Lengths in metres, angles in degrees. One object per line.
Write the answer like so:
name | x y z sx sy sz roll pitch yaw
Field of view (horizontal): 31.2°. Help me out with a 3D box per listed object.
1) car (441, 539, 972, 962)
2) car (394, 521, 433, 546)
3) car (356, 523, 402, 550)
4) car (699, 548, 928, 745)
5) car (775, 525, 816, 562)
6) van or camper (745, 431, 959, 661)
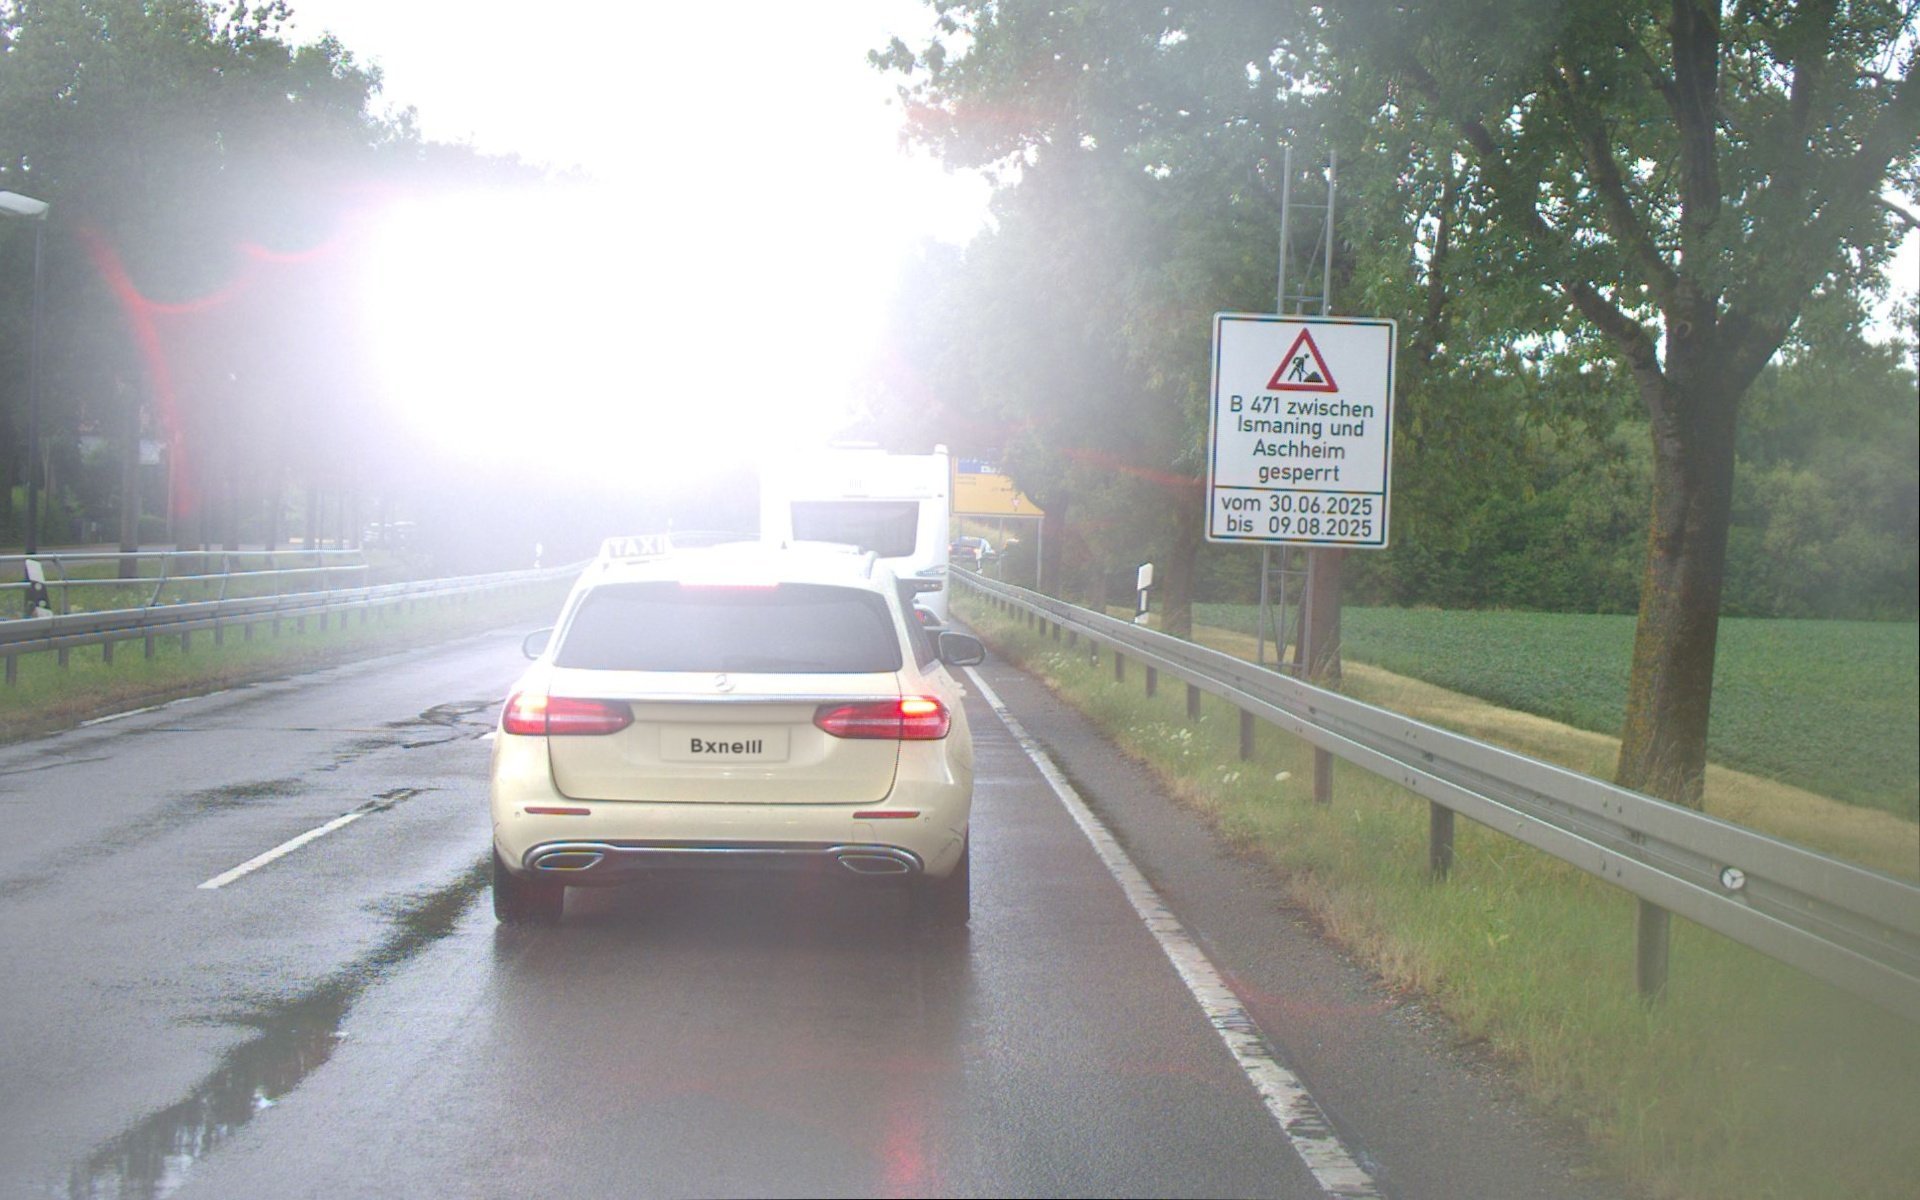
car | -0.905 0.495 14.113 1.865 1.471 4.000 0 1 0
car | -31.632 -3.848 199.125 1.785 1.411 4.001 2 1 -3
car | -31.366 -3.432 185.777 1.785 1.411 4.000 2 1 0
car | -1.100 0.313 27.313 1.664 1.426 4.000 0 1 0
car | -7.327 -2.522 153.485 1.764 1.614 4.001 0 1 -2
van or camper | -1.288 -0.699 43.479 2.489 2.676 5.701 1 1 0
